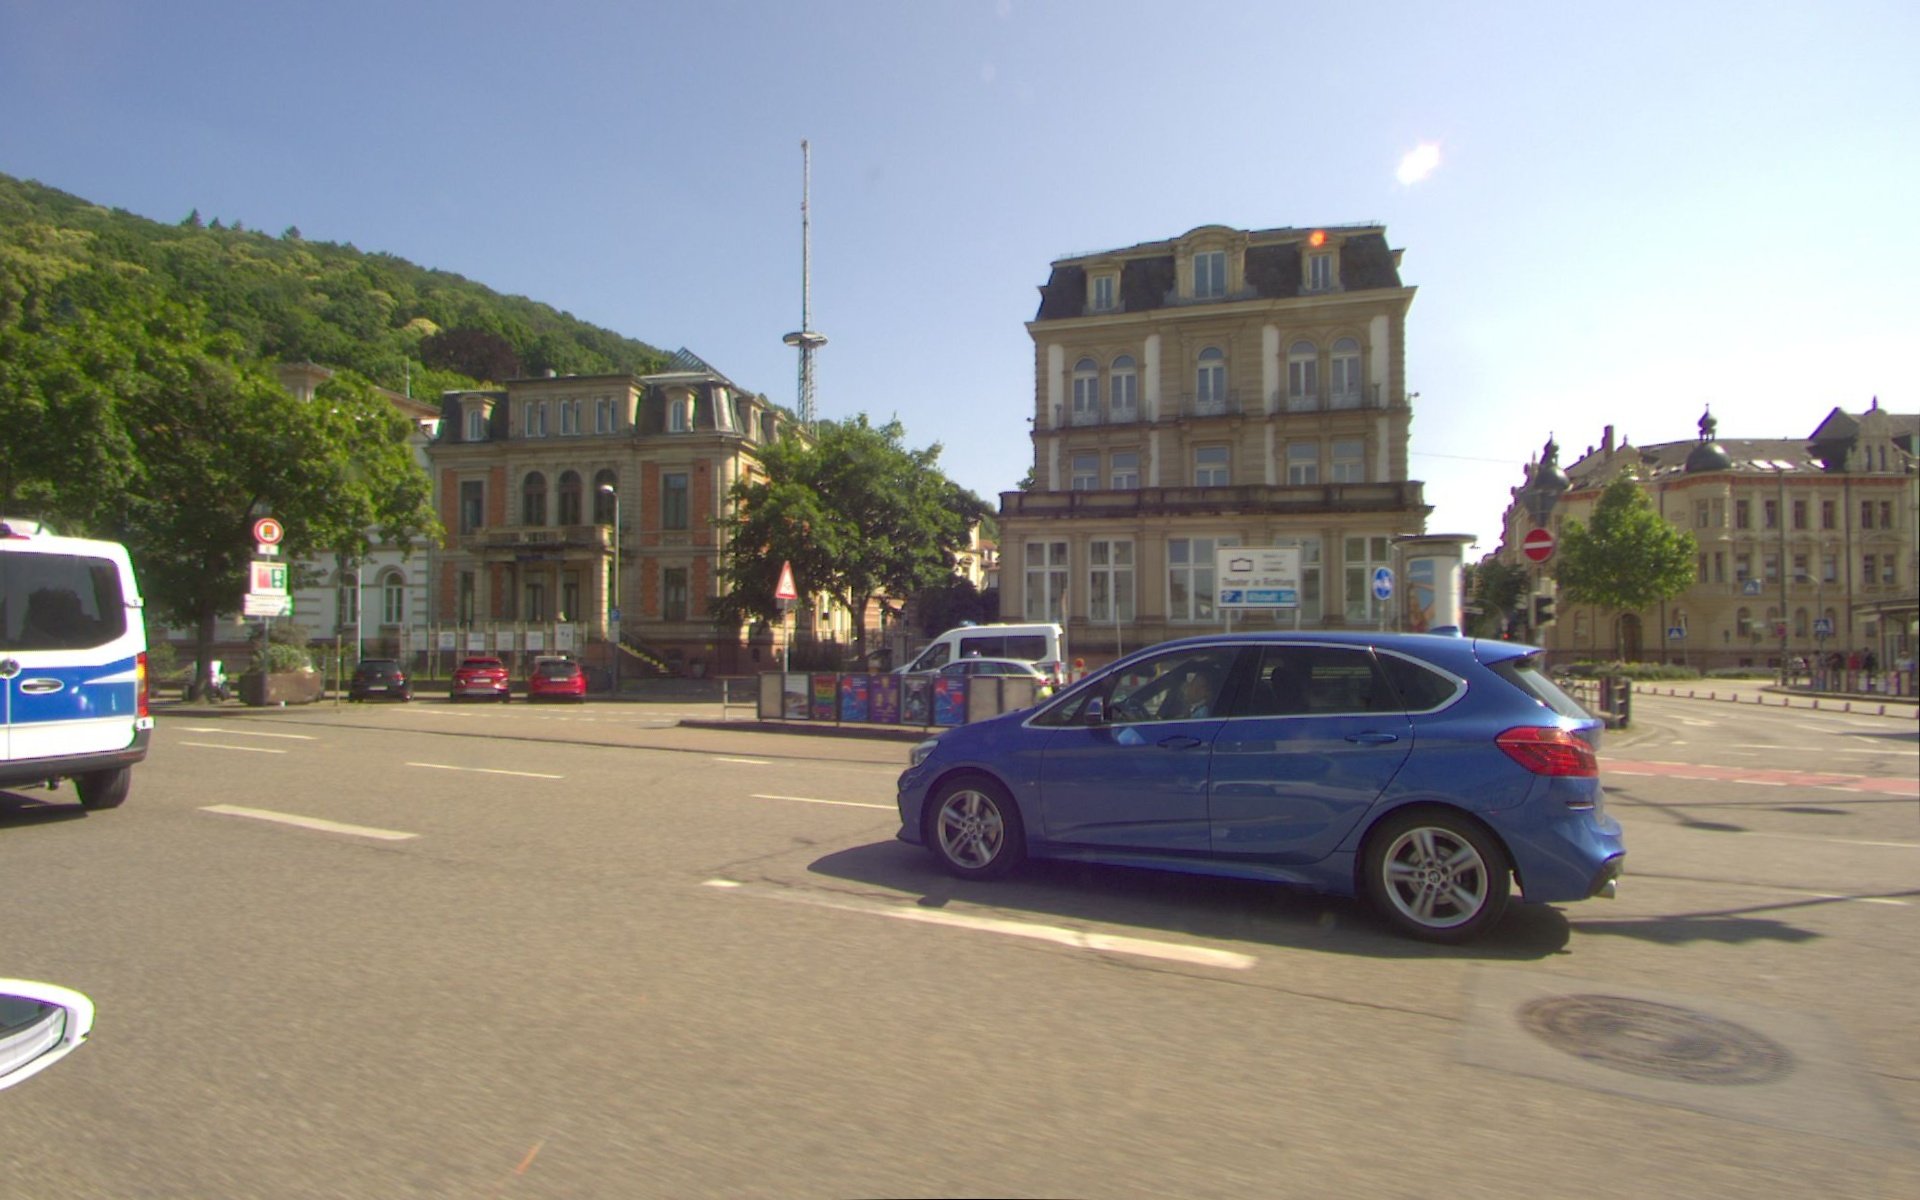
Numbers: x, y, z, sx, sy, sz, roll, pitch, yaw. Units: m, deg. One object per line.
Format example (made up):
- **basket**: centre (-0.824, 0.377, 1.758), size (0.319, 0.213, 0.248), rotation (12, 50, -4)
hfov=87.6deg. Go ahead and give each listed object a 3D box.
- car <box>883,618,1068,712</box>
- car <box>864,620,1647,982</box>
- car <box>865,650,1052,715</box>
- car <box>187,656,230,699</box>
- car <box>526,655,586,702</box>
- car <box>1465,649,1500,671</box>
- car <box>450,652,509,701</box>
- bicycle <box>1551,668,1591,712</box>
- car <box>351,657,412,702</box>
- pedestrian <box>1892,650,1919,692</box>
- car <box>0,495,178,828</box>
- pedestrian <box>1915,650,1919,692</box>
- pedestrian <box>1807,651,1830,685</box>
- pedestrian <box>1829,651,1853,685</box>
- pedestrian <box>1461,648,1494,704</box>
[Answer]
- **car**: centre (0.517, 1.897, 29.614), size (5.217, 2.636, 2.001), rotation (0, -3, 10)
- **car**: centre (1.613, 0.970, 6.190), size (4.209, 1.560, 1.718), rotation (-1, -4, 31)
- **car**: centre (0.013, 2.193, 26.925), size (4.786, 1.646, 1.823), rotation (0, -3, 9)
- **car**: centre (-27.251, 2.771, 36.335), size (1.187, 1.501, 2.273), rotation (2, -3, -37)
- **car**: centre (-13.527, 2.576, 33.436), size (1.721, 1.435, 3.690), rotation (1, -3, -24)
- **car**: centre (41.257, 4.728, 79.123), size (1.847, 1.627, 3.864), rotation (-1, -3, 18)
- **car**: centre (-16.493, 2.570, 34.324), size (1.724, 1.594, 3.863), rotation (1, -3, -27)
- **bicycle**: centre (16.850, 2.470, 27.645), size (0.496, 1.113, 1.818), rotation (-1, -2, 17)
- **car**: centre (-19.790, 2.672, 34.354), size (1.582, 1.434, 3.806), rotation (1, -3, -27)
- **pedestrian**: centre (36.811, 2.761, 38.919), size (0.708, 1.624, 0.721), rotation (-1, -2, 31)
- **car**: centre (-9.321, 0.554, 9.028), size (4.860, 2.539, 2.070), rotation (-2, -3, 33)
- **pedestrian**: centre (37.400, 2.736, 38.568), size (0.708, 1.624, 0.721), rotation (-1, -2, 30)
- **pedestrian**: centre (41.328, 3.250, 48.219), size (0.709, 1.624, 0.721), rotation (-1, -2, 32)
- **pedestrian**: centre (42.241, 3.242, 48.029), size (0.709, 1.624, 0.721), rotation (-1, -2, 31)
- **pedestrian**: centre (16.721, 2.451, 32.364), size (0.713, 1.773, 0.697), rotation (2, -2, -36)
